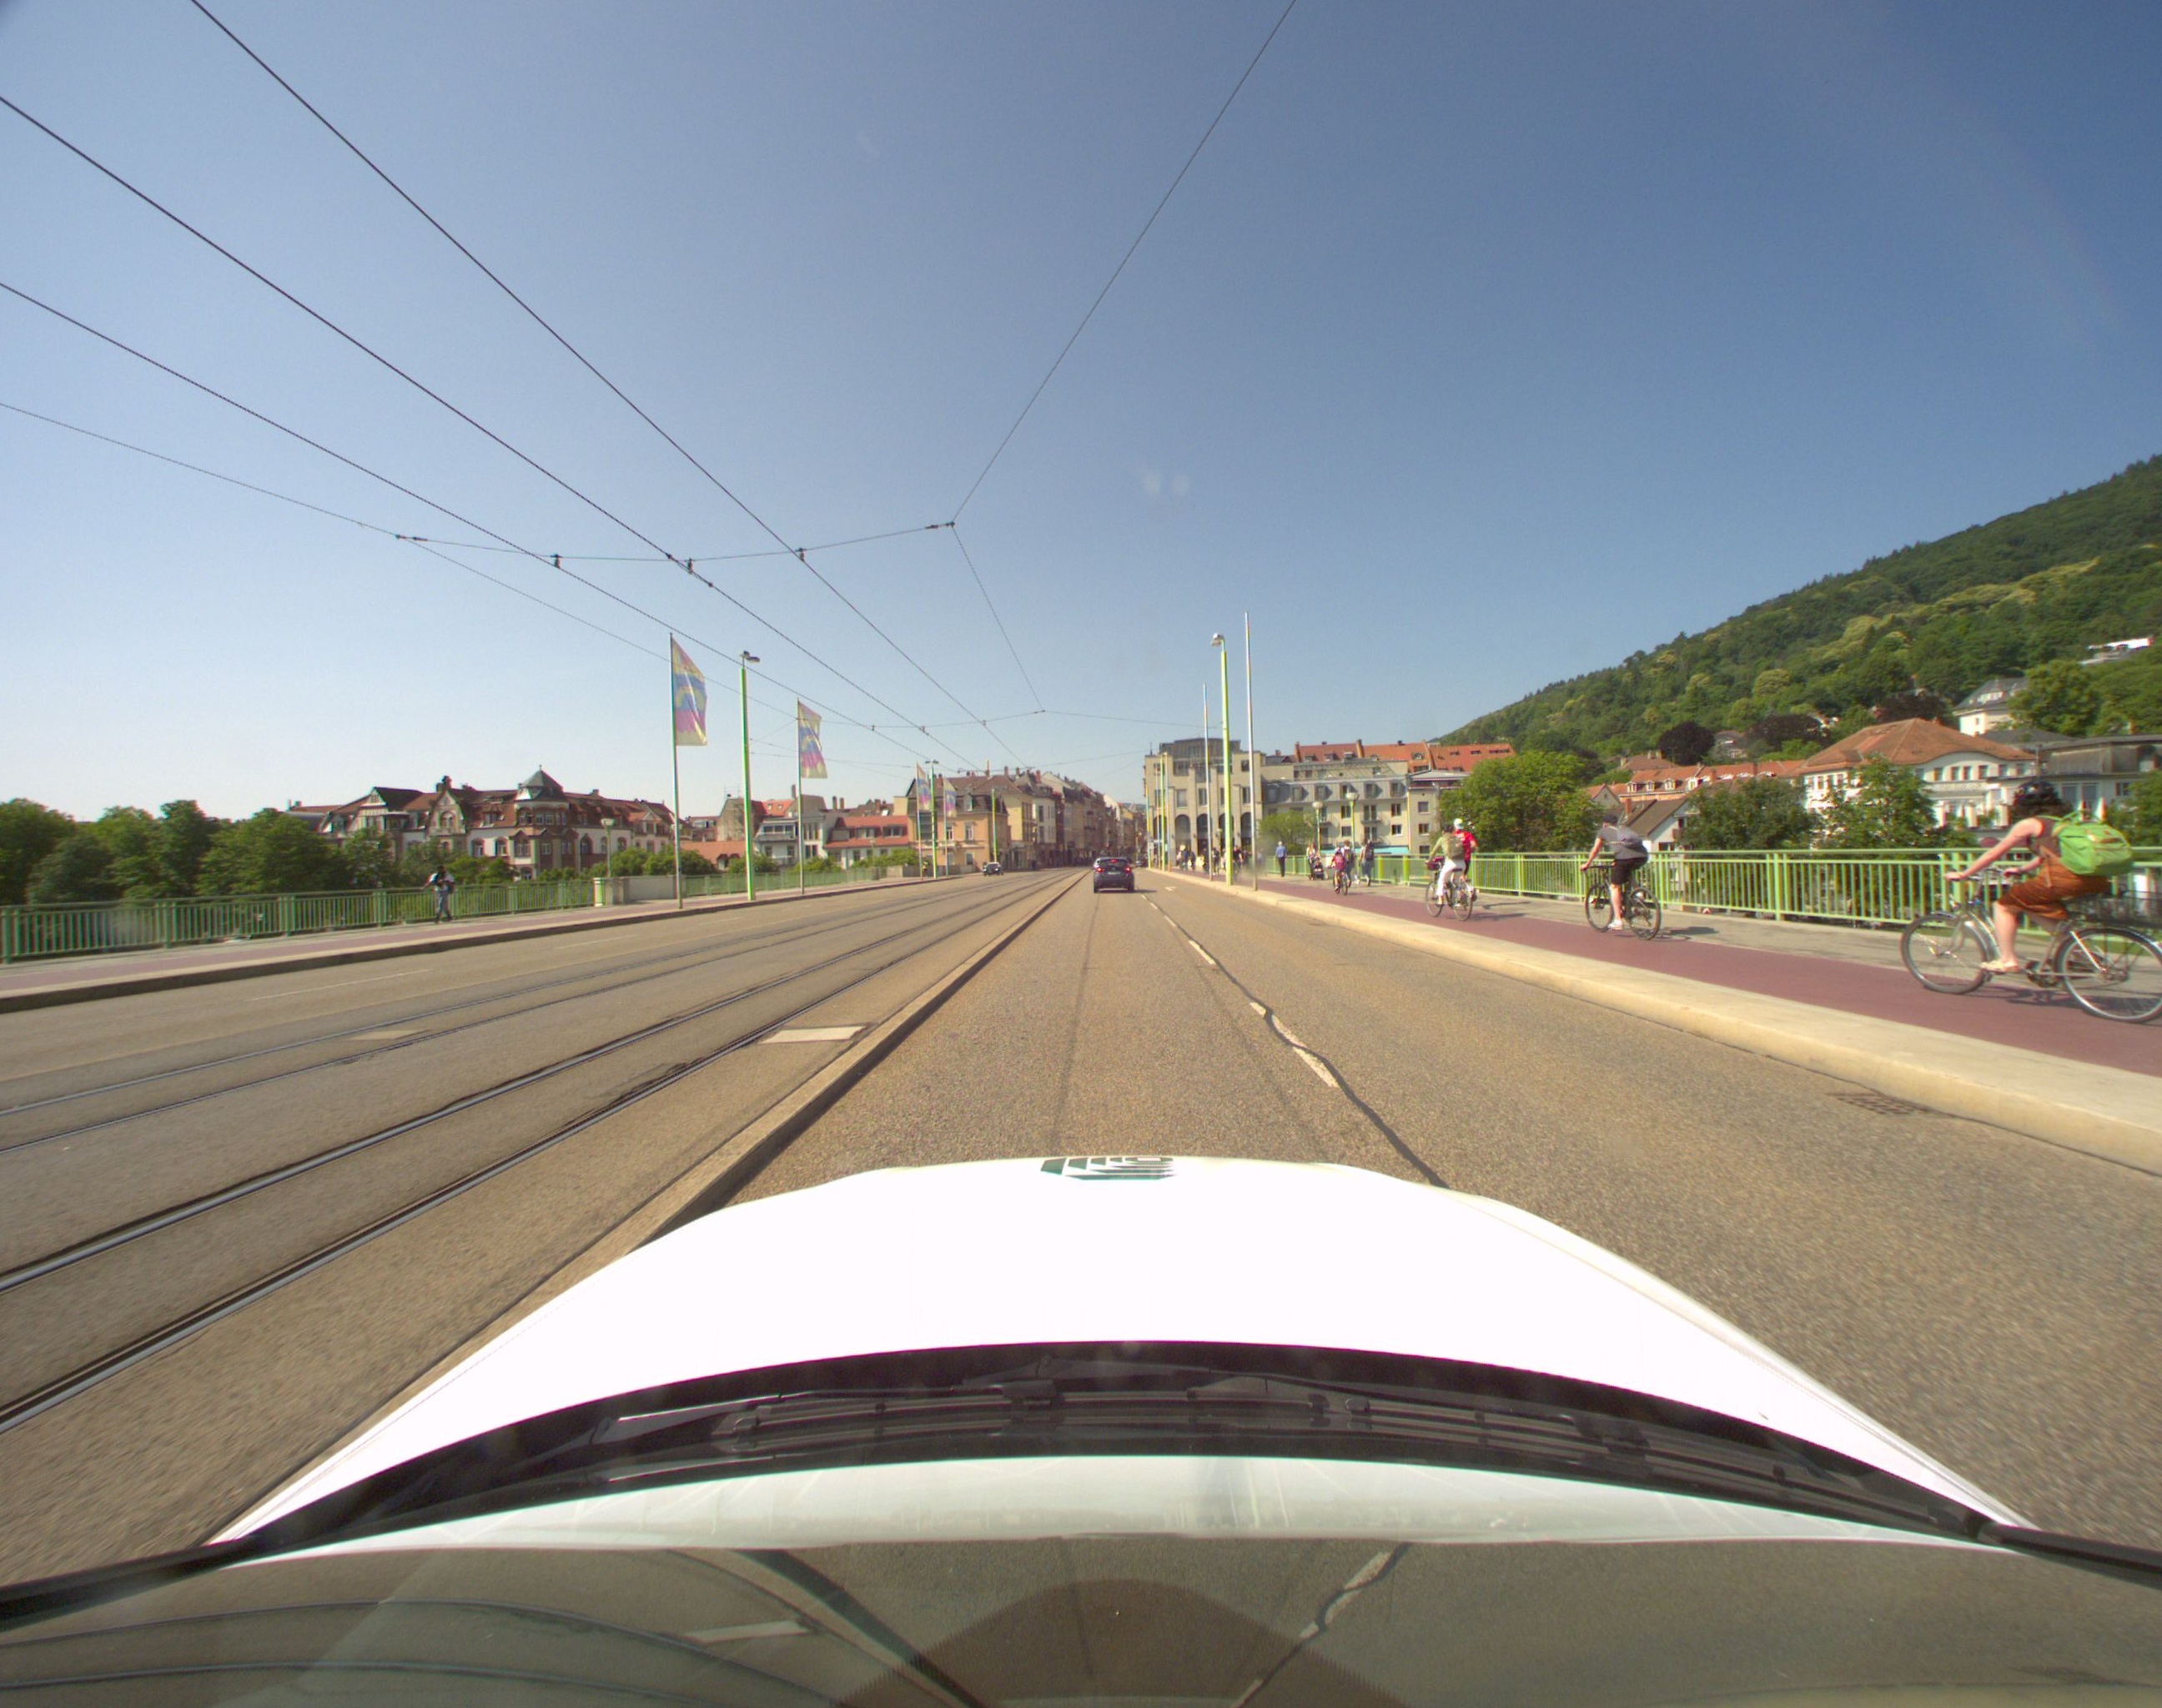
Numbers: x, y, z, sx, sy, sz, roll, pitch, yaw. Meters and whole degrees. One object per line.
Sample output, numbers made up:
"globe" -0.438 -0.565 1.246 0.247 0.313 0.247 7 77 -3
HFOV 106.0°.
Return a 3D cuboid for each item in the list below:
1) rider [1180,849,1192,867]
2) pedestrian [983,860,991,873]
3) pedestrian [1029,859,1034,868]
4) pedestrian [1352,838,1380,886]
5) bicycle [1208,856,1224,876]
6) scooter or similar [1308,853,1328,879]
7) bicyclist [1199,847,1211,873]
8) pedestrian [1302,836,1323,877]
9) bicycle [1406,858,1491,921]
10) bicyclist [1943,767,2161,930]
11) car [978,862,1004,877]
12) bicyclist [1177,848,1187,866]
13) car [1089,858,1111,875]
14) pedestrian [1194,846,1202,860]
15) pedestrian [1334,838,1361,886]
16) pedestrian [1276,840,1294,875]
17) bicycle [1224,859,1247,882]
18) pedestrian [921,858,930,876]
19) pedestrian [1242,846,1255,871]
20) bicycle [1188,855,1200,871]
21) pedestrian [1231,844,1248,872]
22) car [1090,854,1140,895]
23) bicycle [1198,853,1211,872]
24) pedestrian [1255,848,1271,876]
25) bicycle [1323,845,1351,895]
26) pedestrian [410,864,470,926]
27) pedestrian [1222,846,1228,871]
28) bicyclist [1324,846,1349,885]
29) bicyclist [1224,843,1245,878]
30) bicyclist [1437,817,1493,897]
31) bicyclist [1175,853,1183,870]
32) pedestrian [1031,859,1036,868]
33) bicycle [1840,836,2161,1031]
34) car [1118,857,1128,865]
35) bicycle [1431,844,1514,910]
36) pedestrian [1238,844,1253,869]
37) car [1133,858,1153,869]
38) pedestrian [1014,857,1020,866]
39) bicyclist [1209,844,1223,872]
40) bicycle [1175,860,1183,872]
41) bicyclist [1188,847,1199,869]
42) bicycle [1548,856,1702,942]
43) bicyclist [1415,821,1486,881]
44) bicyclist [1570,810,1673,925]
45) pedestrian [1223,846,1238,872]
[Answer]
"rider" 8.959 0.354 69.543 0.886 1.504 0.841 -2 0 0
"pedestrian" -11.901 1.552 102.960 0.759 1.665 0.664 -2 0 3
"pedestrian" -7.961 1.542 131.323 0.759 1.397 0.664 -2 0 3
"pedestrian" 9.621 0.251 27.513 0.597 1.586 0.866 -2 0 -1
"bicycle" 8.162 0.722 49.245 0.591 1.178 1.939 -2 0 0
"scooter or similar" 10.273 0.508 35.313 0.586 1.069 0.865 -2 0 -1
"bicyclist" 8.139 0.369 53.550 0.625 1.689 0.869 -2 0 0
"pedestrian" 10.272 0.112 36.192 0.640 1.756 0.866 -2 0 -1
"bicycle" 6.727 0.616 15.037 0.616 1.037 2.051 -2 0 0
"bicyclist" 6.973 -0.042 5.769 0.665 1.045 0.979 -2 0 -4
"car" -9.855 1.661 89.700 1.983 1.479 4.007 -2 0 6
"bicyclist" 9.601 0.286 77.403 0.792 1.676 0.870 -2 0 4
"car" 1.757 1.124 76.255 1.799 1.469 3.998 -3 0 -1
"pedestrian" 12.192 -0.080 84.877 0.654 1.451 0.644 -2 0 -2
"pedestrian" 9.006 0.277 27.568 0.597 1.586 0.866 -2 0 -1
"pedestrian" 10.570 0.179 42.220 0.710 1.810 0.848 -2 0 1
"bicycle" 7.193 0.760 38.074 0.651 0.981 2.178 -3 -1 1
"pedestrian" -15.926 1.314 83.433 0.759 1.786 0.664 -2 0 3
"pedestrian" 11.449 0.312 55.807 0.709 1.651 0.848 -2 0 3
"bicycle" 9.080 0.726 65.458 0.664 1.178 2.029 -2 0 0
"pedestrian" 10.341 0.244 53.182 0.926 1.761 0.938 -2 0 1
"car" 1.425 0.834 35.632 1.904 1.540 3.999 -3 1 -1
"bicycle" 8.102 0.532 53.575 0.524 1.178 2.029 -2 0 0
"pedestrian" 9.656 0.411 43.215 0.611 1.465 0.848 -2 0 1
"bicycle" 7.466 0.434 23.811 0.531 1.367 2.223 -2 0 11
"pedestrian" -18.634 1.168 23.698 0.827 1.722 1.094 -2 0 2
"pedestrian" 10.286 0.338 58.201 0.366 1.794 0.604 0 -1 1
"bicyclist" 7.493 0.323 23.928 0.595 1.101 0.855 -2 0 11
"bicyclist" 7.166 0.292 38.148 0.651 1.567 1.338 -3 -1 1
"bicyclist" 8.145 0.061 17.321 0.733 1.635 0.866 -2 0 0
"bicyclist" 8.866 0.655 73.779 0.648 1.529 0.976 -2 0 5
"pedestrian" -7.484 1.510 128.092 0.759 1.397 0.664 -2 0 3
"bicycle" 6.981 0.492 6.021 0.693 1.193 2.077 -2 0 -3
"car" 8.504 1.364 164.380 1.868 1.409 4.008 -2 0 7
"bicycle" 8.175 0.458 17.131 0.616 1.271 2.216 -3 0 0
"pedestrian" 11.438 0.197 56.704 0.831 1.689 0.869 -2 0 1
"car" 10.062 1.540 132.084 1.787 1.469 4.025 -3 0 28
"pedestrian" -10.122 1.166 128.695 0.759 1.397 0.664 -2 0 3
"bicyclist" 8.150 0.233 49.286 0.654 1.676 0.869 -2 0 0
"bicycle" 8.879 1.081 73.668 0.663 1.049 2.031 -2 0 5
"bicyclist" 9.064 0.324 65.484 0.713 1.676 0.869 -2 0 0
"bicycle" 7.497 0.570 11.381 0.616 1.037 2.266 -2 0 0
"bicyclist" 6.697 -0.054 14.802 0.733 1.030 1.175 -2 0 0
"bicyclist" 7.480 0.175 11.315 0.733 1.500 0.980 -2 0 0
"pedestrian" 10.056 0.321 54.769 0.831 1.689 0.869 -2 0 1
